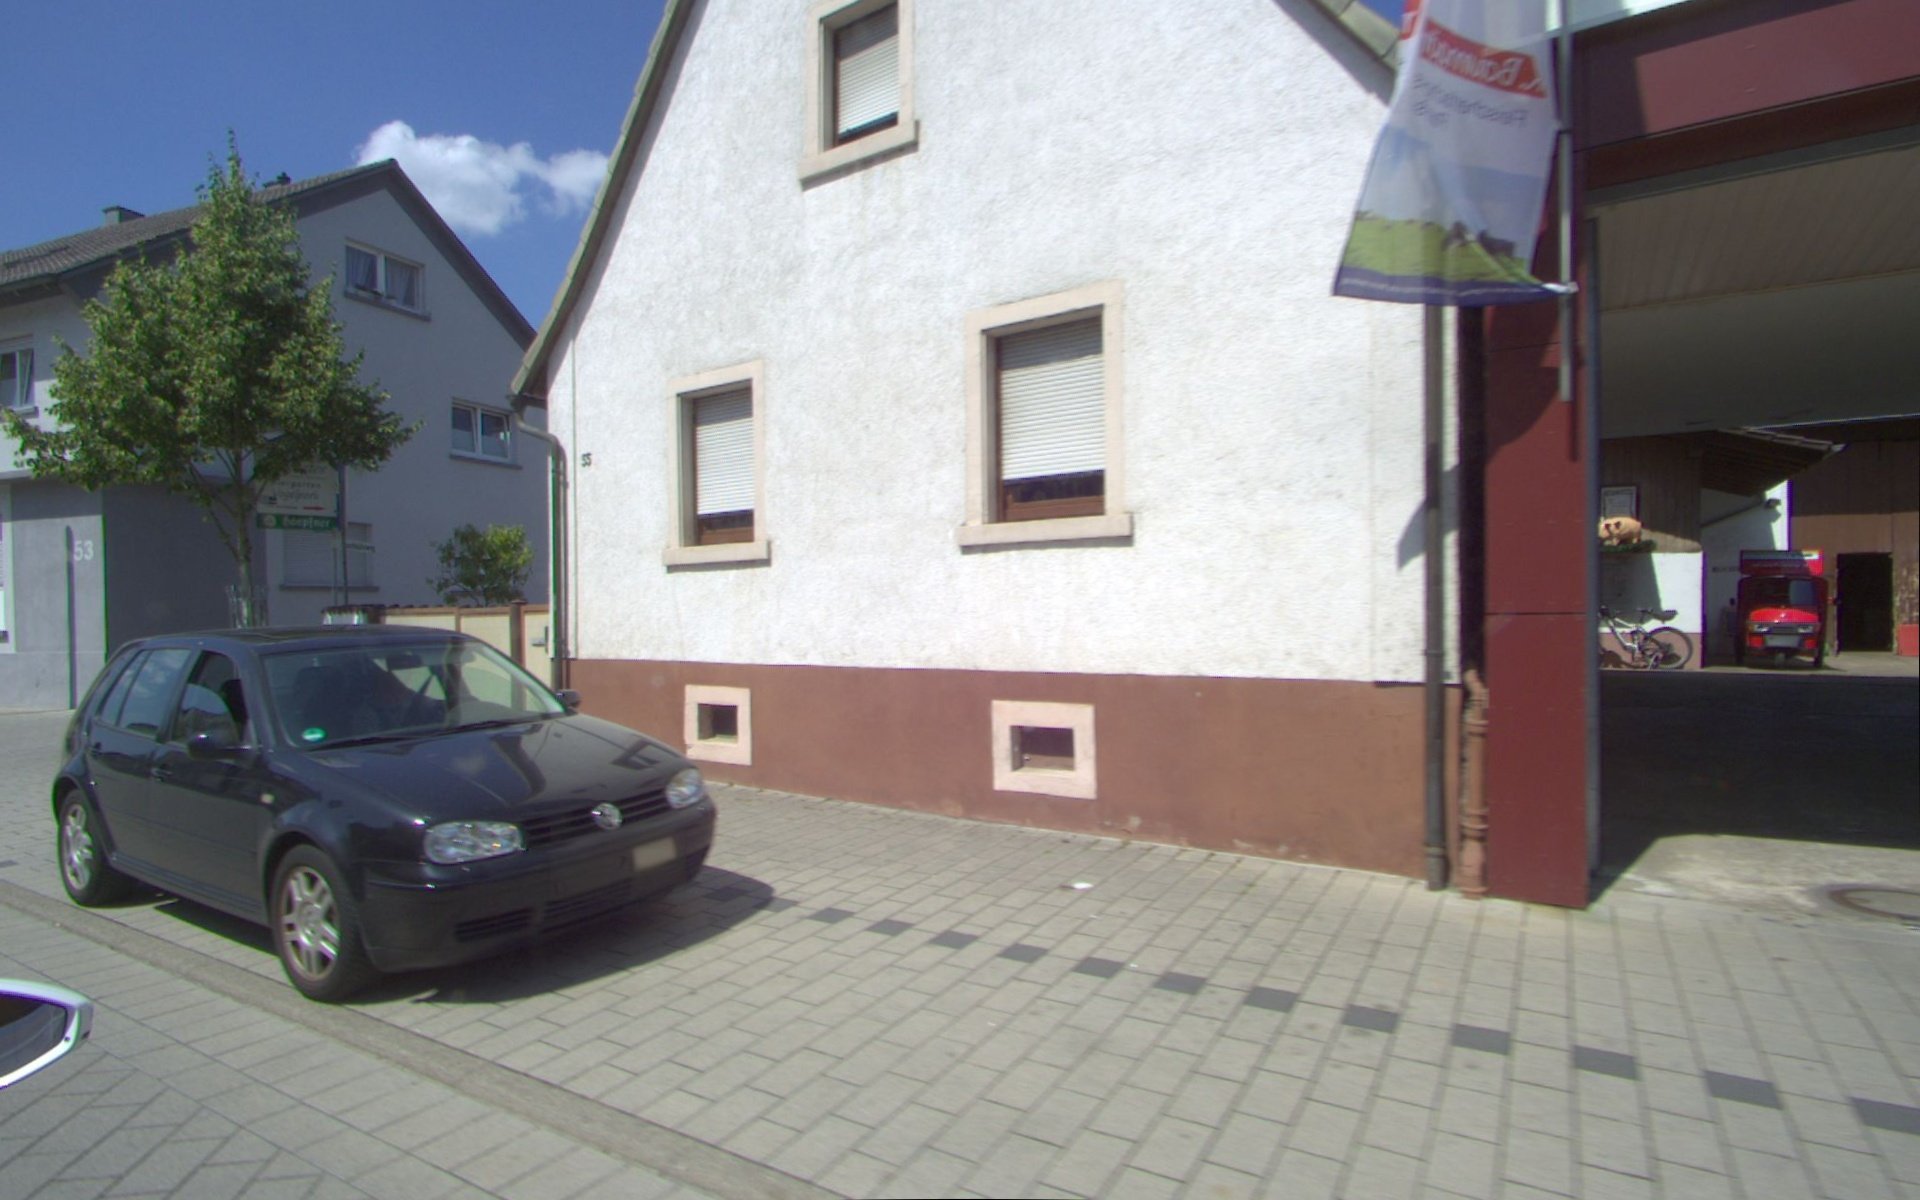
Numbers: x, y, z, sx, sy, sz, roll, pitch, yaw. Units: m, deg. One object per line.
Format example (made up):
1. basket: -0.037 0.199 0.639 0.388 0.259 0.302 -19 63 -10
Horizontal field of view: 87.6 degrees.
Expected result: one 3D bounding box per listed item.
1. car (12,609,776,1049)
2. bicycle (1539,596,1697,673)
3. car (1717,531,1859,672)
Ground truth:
1. car: -3.081 0.813 5.223 4.061 1.458 1.755 -1 0 33
2. bicycle: 10.828 0.563 16.581 2.136 1.222 0.654 -1 0 29
3. car: 14.318 0.074 17.486 1.455 2.172 3.726 -1 -1 33
